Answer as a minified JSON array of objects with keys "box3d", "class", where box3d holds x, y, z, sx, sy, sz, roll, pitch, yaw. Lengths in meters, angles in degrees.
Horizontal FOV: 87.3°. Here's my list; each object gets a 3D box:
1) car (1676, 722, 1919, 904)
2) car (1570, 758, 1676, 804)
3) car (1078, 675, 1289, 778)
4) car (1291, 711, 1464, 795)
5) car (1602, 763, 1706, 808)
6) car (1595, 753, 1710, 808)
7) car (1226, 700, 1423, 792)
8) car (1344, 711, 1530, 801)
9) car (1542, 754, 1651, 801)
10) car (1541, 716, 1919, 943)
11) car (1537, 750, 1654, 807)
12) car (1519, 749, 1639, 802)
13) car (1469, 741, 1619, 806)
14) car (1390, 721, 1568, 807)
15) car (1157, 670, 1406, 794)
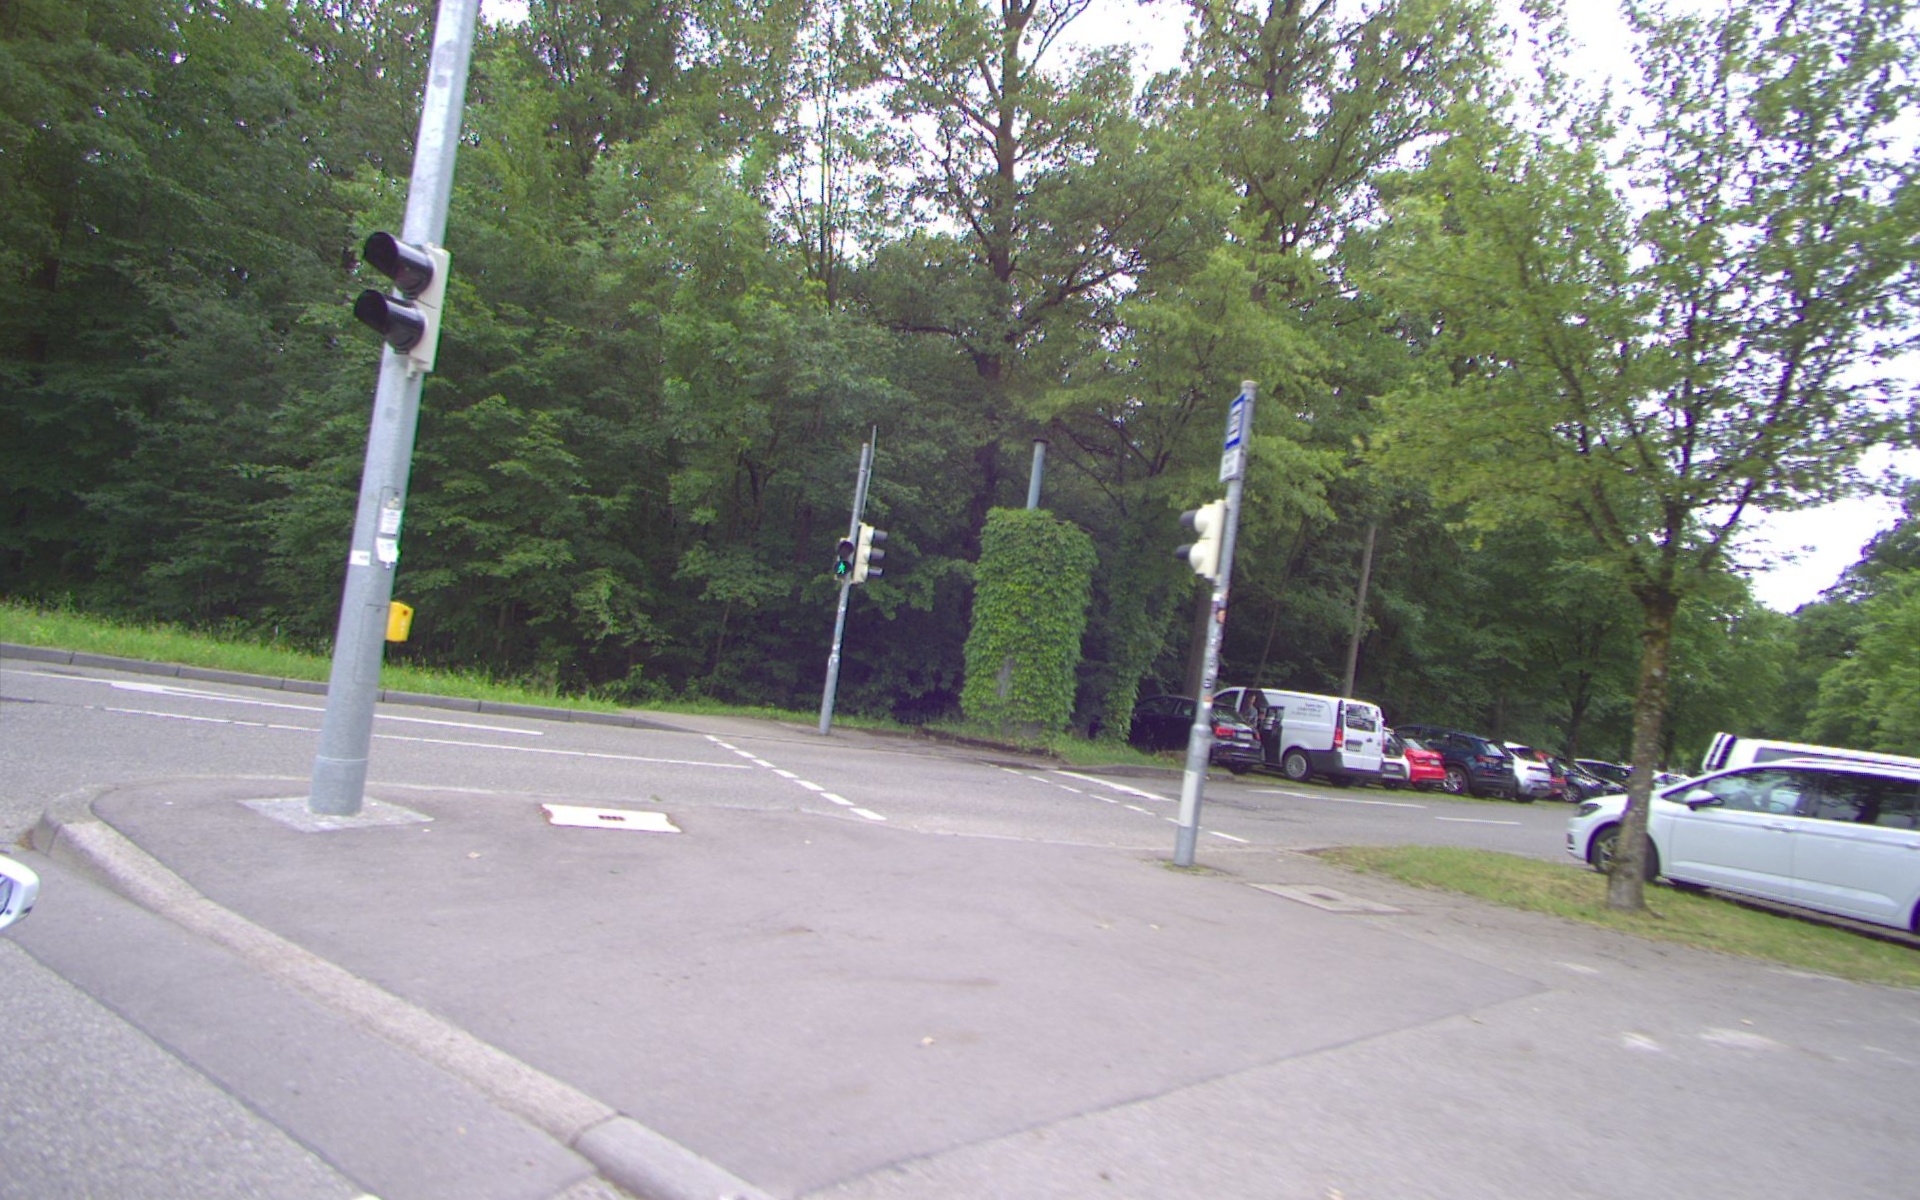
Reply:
[{"box3d":[12.903,2.989,13.287,2.047,1.977,5.136,11,-5,-36],"class":"car"},{"box3d":[27.966,7.621,42.484,1.551,1.232,3.393,11,-4,-41],"class":"car"},{"box3d":[4.596,2.608,21.009,1.812,1.435,3.802,12,-4,-43],"class":"car"},{"box3d":[10.633,3.883,25.812,1.770,1.429,3.572,11,-4,-37],"class":"car"},{"box3d":[30.044,8.022,43.608,1.551,1.232,3.393,11,-4,-41],"class":"car"},{"box3d":[32.947,8.584,47.929,4.151,1.805,1.830,6,-4,44],"class":"car"},{"box3d":[8.686,3.477,24.265,1.816,1.429,4.010,11,-4,-37],"class":"car"},{"box3d":[12.638,4.122,26.827,1.838,1.639,3.945,11,-4,-41],"class":"car"},{"box3d":[26.125,7.289,41.353,1.551,1.232,3.393,11,-4,-41],"class":"car"},{"box3d":[8.766,2.351,10.263,1.982,1.568,4.385,11,-4,-32],"class":"car"},{"box3d":[24.424,6.849,38.727,1.551,1.487,3.393,11,-4,-41],"class":"car"},{"box3d":[22.716,6.437,36.996,1.551,1.232,3.393,11,-4,-41],"class":"car"},{"box3d":[19.646,5.834,33.951,1.731,1.375,3.945,11,-4,-41],"class":"car"},{"box3d":[14.565,4.576,28.362,1.838,1.635,3.945,11,-4,-41],"class":"car"},{"box3d":[7.057,2.877,22.605,1.986,1.898,4.900,11,-4,-37],"class":"car"}]
